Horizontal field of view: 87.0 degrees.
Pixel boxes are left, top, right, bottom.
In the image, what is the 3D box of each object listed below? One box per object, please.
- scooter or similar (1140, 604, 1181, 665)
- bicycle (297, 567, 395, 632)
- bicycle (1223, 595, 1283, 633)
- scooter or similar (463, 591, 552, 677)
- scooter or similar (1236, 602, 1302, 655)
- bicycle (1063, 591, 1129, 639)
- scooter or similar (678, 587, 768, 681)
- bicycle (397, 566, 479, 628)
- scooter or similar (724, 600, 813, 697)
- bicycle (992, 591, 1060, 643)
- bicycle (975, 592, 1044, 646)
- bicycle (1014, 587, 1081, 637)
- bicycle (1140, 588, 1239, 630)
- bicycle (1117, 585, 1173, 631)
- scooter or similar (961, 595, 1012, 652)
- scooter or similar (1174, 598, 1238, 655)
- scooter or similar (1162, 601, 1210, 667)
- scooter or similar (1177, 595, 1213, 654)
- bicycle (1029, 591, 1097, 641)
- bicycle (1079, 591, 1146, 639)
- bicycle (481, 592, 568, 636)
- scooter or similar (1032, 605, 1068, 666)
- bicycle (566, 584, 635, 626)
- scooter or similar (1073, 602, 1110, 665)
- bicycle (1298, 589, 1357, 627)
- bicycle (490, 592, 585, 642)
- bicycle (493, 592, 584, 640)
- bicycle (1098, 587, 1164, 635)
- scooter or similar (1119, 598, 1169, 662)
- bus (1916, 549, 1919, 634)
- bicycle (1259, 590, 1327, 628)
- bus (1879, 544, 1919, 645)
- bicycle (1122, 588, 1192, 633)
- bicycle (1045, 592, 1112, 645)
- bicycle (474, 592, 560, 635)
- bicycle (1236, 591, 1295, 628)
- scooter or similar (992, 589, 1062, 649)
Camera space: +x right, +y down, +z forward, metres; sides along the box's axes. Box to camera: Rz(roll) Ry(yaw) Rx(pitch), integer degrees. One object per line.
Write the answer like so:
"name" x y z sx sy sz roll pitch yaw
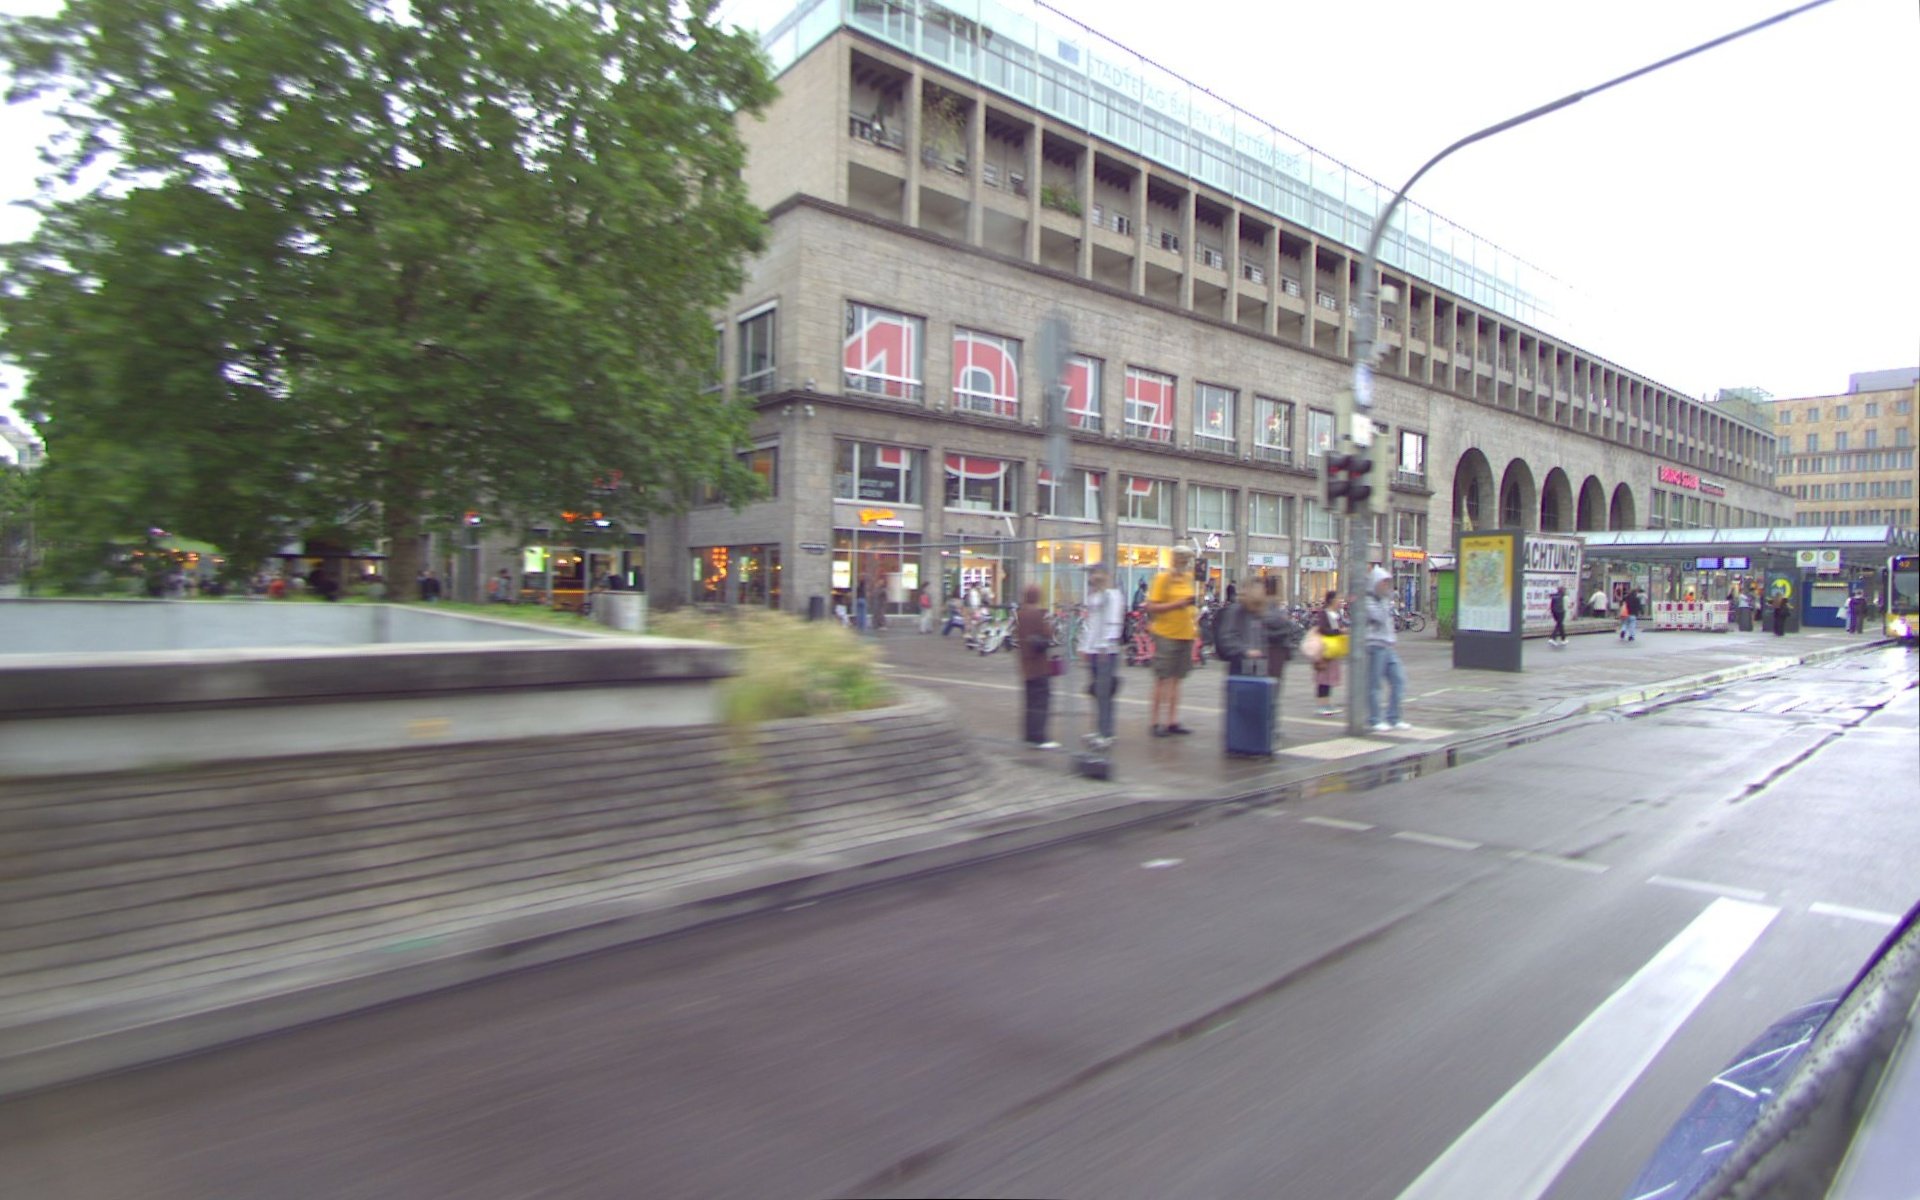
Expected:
"scooter or similar" 4.200 0.709 21.150 0.940 1.222 0.306 -1 0 -40
"bicycle" -15.523 -0.012 25.606 2.089 1.582 0.796 0 0 -33
"bicycle" 9.458 0.450 32.691 1.685 1.123 0.666 3 2 36
"scooter or similar" -7.376 0.533 16.540 0.408 1.349 1.298 -1 0 37
"scooter or similar" 6.832 0.626 22.371 1.337 1.144 0.439 -1 -2 -14
"bicycle" 3.843 0.405 28.747 0.606 1.252 1.995 0 3 -38
"scooter or similar" -3.361 0.455 14.416 0.371 1.275 1.298 -1 0 37
"bicycle" -14.367 -0.084 27.855 1.957 1.654 0.618 0 0 -33
"scooter or similar" -2.557 0.625 13.555 1.138 1.232 0.352 -1 0 -42
"bicycle" 1.741 0.426 27.013 0.606 1.252 1.995 0 3 -38
"bicycle" 1.278 0.466 26.337 0.606 1.252 1.995 0 3 -38
"bicycle" 2.355 0.305 27.514 0.606 1.252 1.995 0 3 -38
"bicycle" 7.053 0.260 31.230 2.871 1.122 0.868 3 3 38
"bicycle" 5.460 0.220 29.942 0.606 1.240 1.620 0 3 -38
"scooter or similar" 0.646 0.529 23.843 0.614 1.276 1.738 -1 0 22
"scooter or similar" 5.685 0.588 23.396 1.299 1.272 0.585 0 0 36
"scooter or similar" 4.505 0.662 20.132 1.080 1.252 0.325 -1 0 -40
"scooter or similar" 5.204 0.527 22.490 0.559 1.246 1.368 -1 0 4
"bicycle" 2.822 0.417 27.904 0.606 1.252 1.995 0 3 -38
"bicycle" 4.361 0.396 29.130 0.606 1.252 1.995 0 3 -38
"bicycle" -11.007 0.340 25.596 1.957 1.068 0.618 0 2 -33
"scooter or similar" 1.881 0.722 21.244 0.466 1.232 1.100 -1 0 -10
"bicycle" -11.346 0.147 31.950 1.977 1.271 0.661 0 0 5
"scooter or similar" 2.729 0.680 21.118 0.429 1.266 1.368 -1 0 -6
"bicycle" 12.983 0.265 35.795 0.605 1.252 1.999 0 2 -30
"bicycle" -9.947 0.380 23.850 1.985 1.115 0.618 0 2 -33
"bicycle" -10.290 0.377 24.736 1.985 1.115 0.618 0 2 -33
"bicycle" 4.974 0.302 29.554 0.606 1.281 1.995 0 3 -38
"scooter or similar" 3.905 0.619 21.470 1.152 1.297 0.369 -1 0 -40
"bus" 41.566 -0.400 40.954 8.973 3.288 3.147 -1 0 -40
"bicycle" 11.176 0.285 33.982 2.068 1.153 0.883 3 2 25
"bus" 34.690 -0.242 35.084 9.081 3.245 3.118 -1 0 -41
"bicycle" 5.929 0.301 30.559 1.985 1.252 0.609 3 2 38
"bicycle" 3.288 0.496 28.323 0.606 1.351 1.995 0 3 -38
"bicycle" -11.460 0.335 26.195 1.957 1.038 0.618 0 2 -33
"bicycle" 10.019 0.307 33.195 1.720 1.123 0.682 3 2 28
"scooter or similar" 1.650 0.455 24.959 1.681 1.446 0.622 -1 0 8
